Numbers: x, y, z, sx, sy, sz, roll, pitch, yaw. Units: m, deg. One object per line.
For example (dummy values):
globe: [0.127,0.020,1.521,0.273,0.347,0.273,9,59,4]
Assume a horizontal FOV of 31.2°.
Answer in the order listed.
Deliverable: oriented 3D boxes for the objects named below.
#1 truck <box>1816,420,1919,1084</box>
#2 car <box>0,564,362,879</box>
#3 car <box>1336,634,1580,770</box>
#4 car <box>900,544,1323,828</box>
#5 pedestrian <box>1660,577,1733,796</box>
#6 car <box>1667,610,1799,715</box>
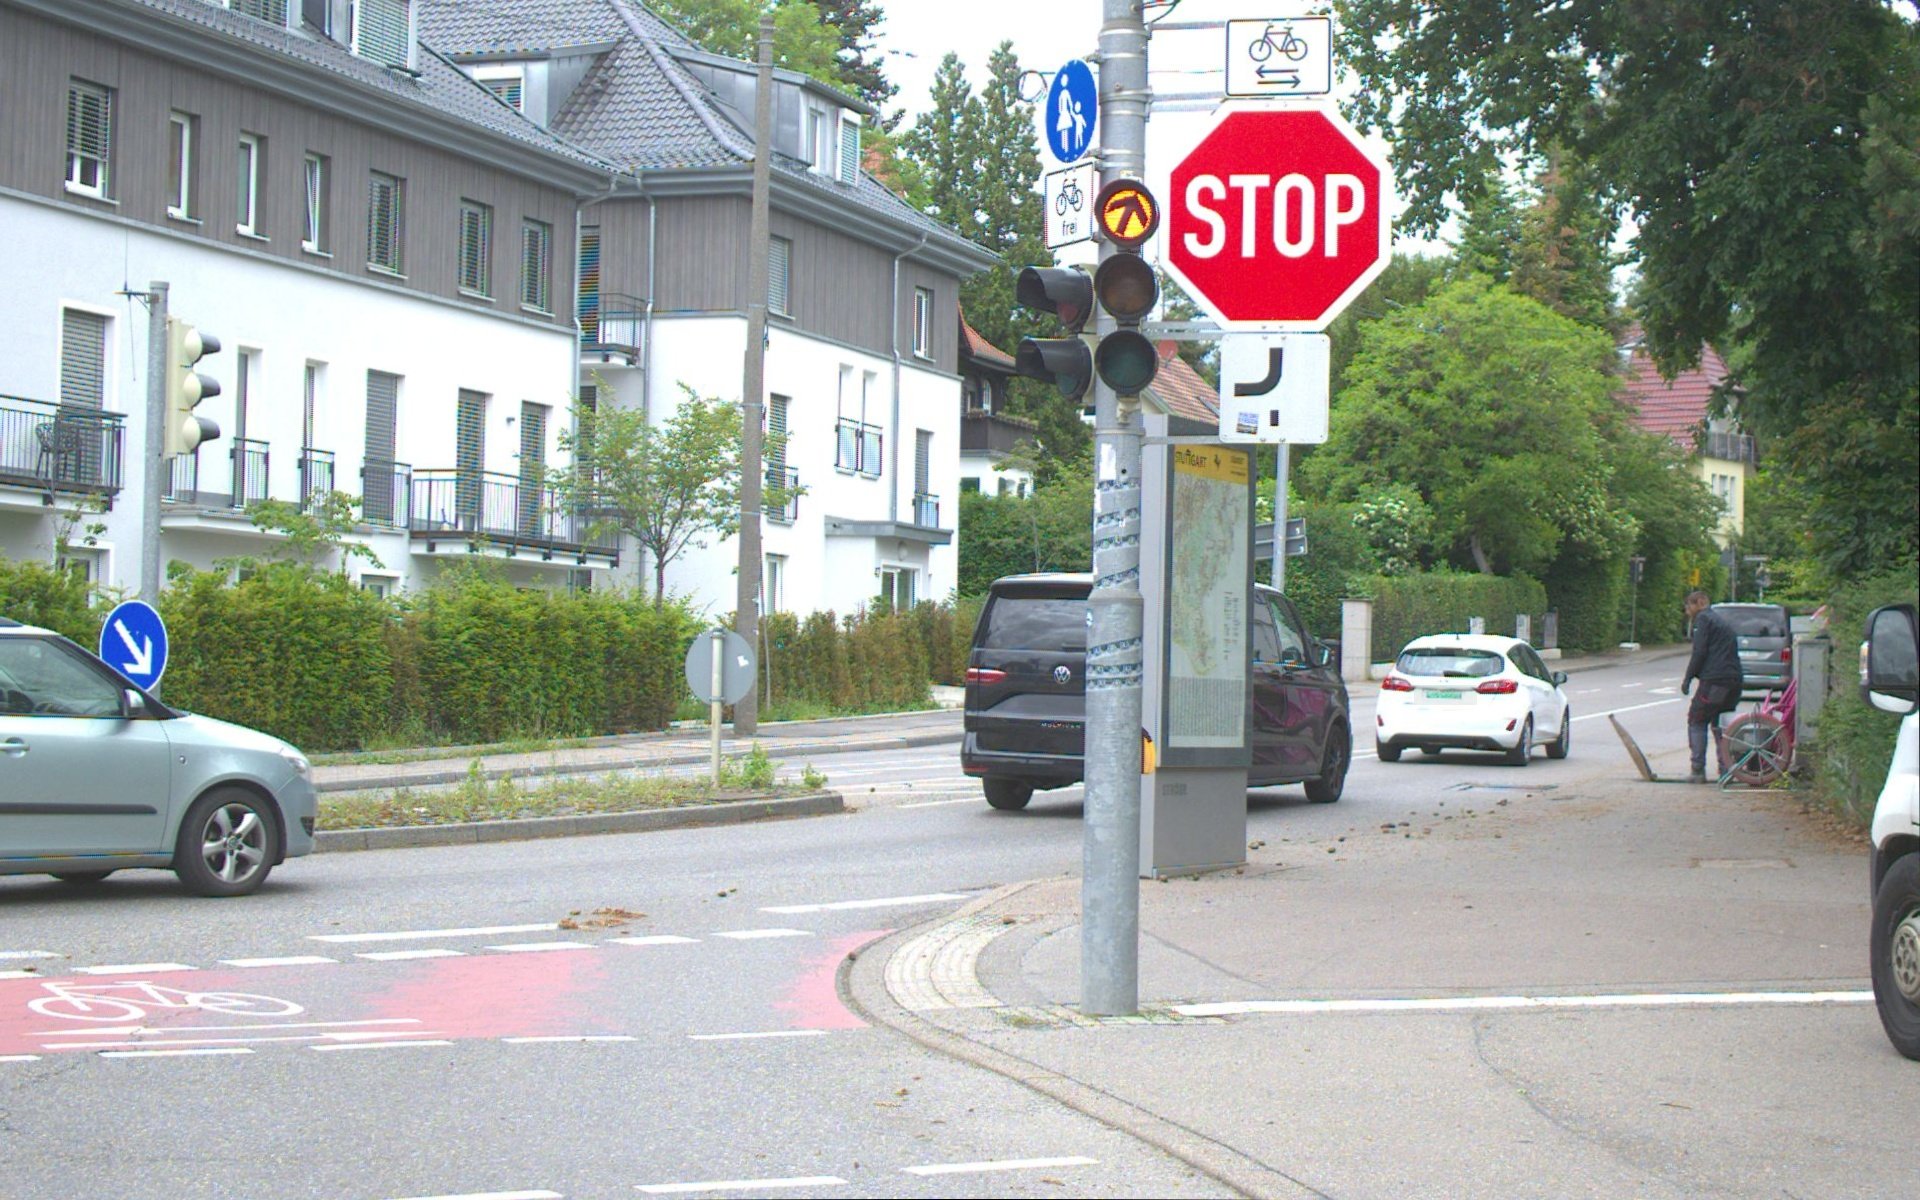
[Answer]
truck: [4.331,0.496,9.551,2.183,2.187,5.882,1,-1,-2]
car: [-5.311,0.581,17.479,4.184,1.471,1.712,1,3,-45]
car: [5.783,1.125,39.570,1.933,1.378,3.996,1,1,21]
car: [1.361,0.603,28.314,1.996,2.006,4.776,4,2,20]
pedestrian: [6.858,0.791,32.049,0.587,2.007,0.840,1,0,8]
car: [15.609,1.286,69.598,1.994,2.007,4.508,1,-2,5]
